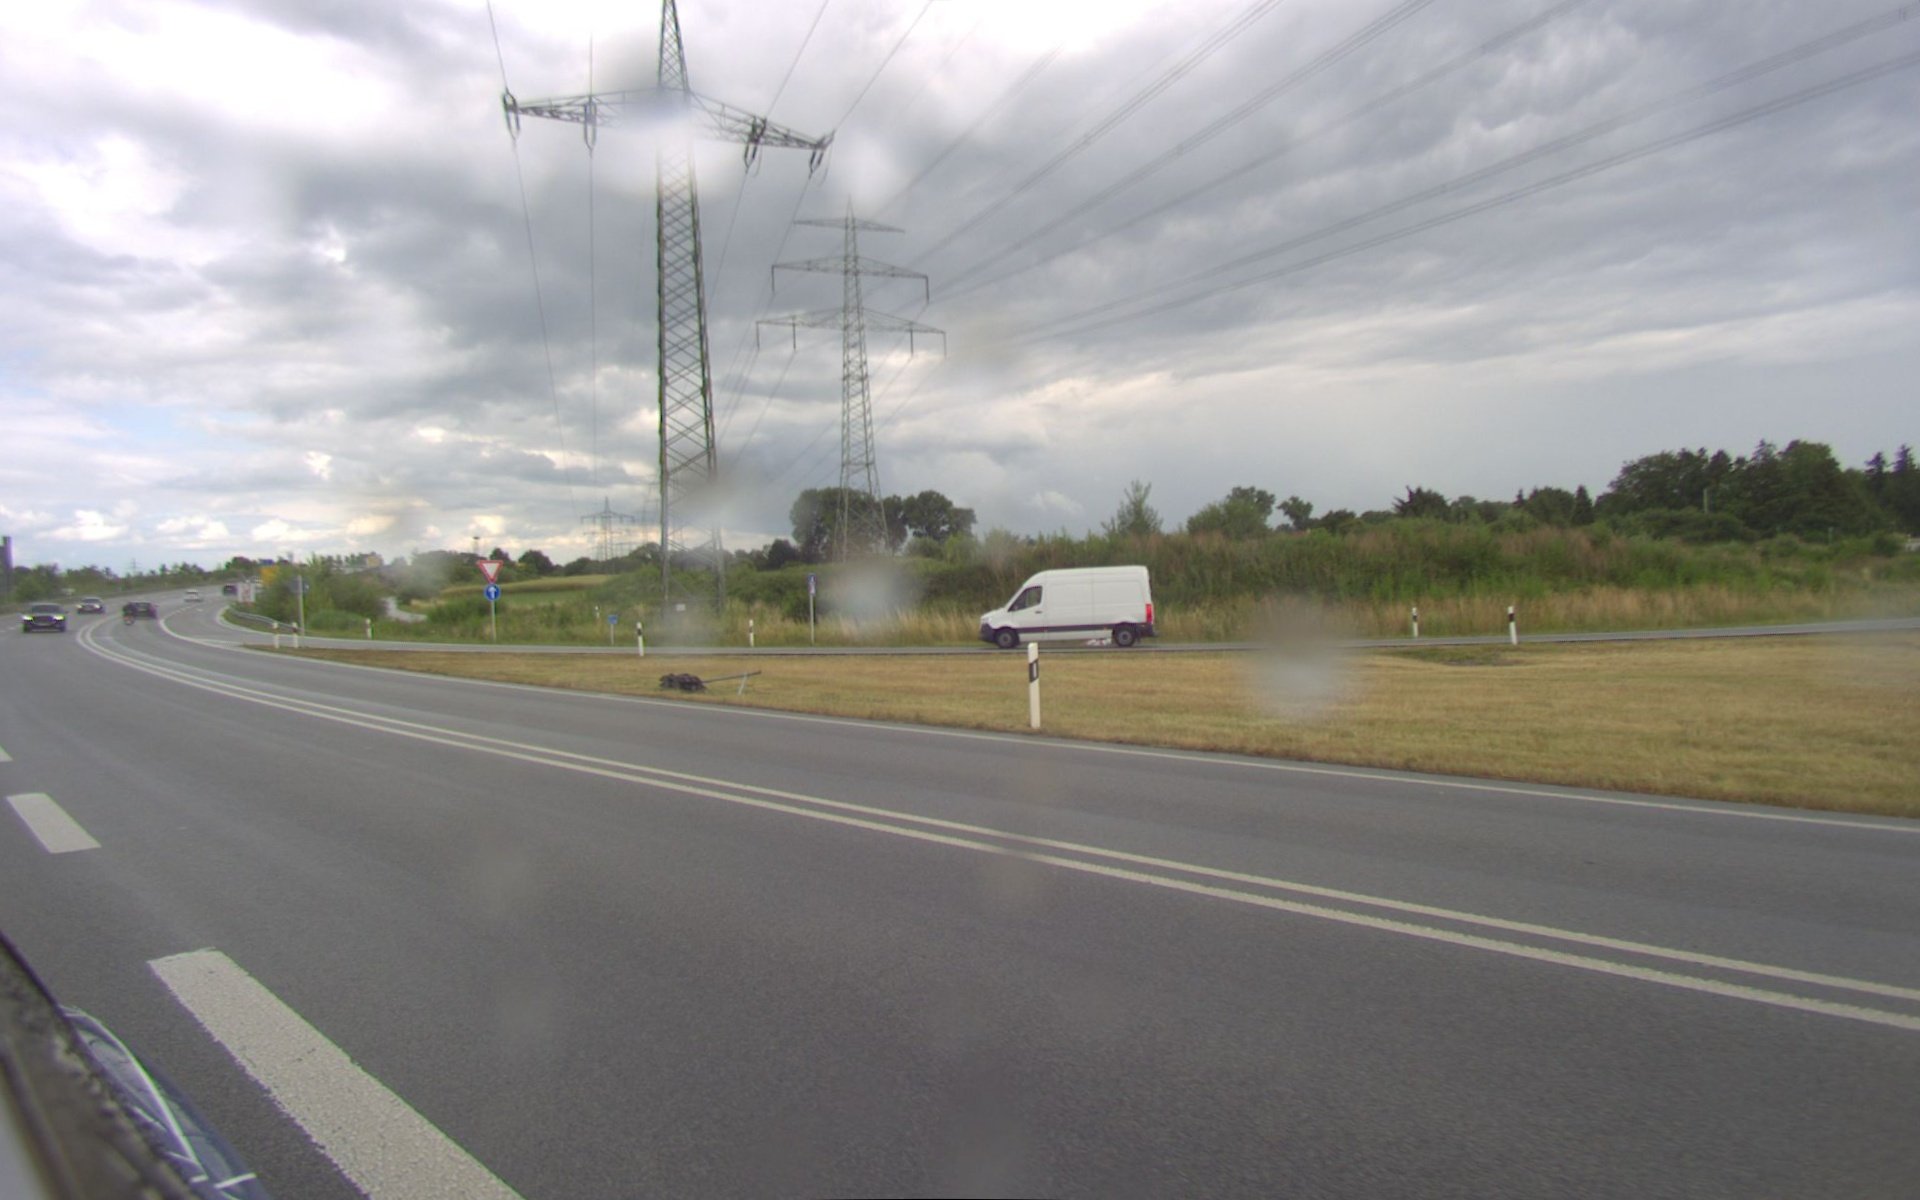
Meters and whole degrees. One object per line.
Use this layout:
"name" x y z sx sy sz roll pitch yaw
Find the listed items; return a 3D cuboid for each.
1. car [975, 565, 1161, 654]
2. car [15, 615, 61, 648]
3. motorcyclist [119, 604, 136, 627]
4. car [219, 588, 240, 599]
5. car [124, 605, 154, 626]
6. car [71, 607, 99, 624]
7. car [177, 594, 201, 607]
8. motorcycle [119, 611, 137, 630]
"car" 3.595 0.289 33.671 5.953 2.769 2.209 -1 2 9
"car" -53.607 1.798 58.903 1.769 1.782 4.006 -2 1 -40
"motorcyclist" -56.169 1.058 68.299 0.791 1.546 0.826 -1 0 -35
"car" -110.749 -0.969 153.445 1.774 1.586 4.274 1 1 -26
"car" -67.424 1.264 83.081 1.777 1.606 4.232 -1 0 -41
"car" -81.009 1.408 93.694 1.722 1.508 4.058 -2 1 -38
"car" -98.417 0.039 129.208 1.681 1.491 4.626 -1 2 -28
"motorcycle" -56.196 1.371 68.366 0.791 1.247 2.191 -1 0 -35
